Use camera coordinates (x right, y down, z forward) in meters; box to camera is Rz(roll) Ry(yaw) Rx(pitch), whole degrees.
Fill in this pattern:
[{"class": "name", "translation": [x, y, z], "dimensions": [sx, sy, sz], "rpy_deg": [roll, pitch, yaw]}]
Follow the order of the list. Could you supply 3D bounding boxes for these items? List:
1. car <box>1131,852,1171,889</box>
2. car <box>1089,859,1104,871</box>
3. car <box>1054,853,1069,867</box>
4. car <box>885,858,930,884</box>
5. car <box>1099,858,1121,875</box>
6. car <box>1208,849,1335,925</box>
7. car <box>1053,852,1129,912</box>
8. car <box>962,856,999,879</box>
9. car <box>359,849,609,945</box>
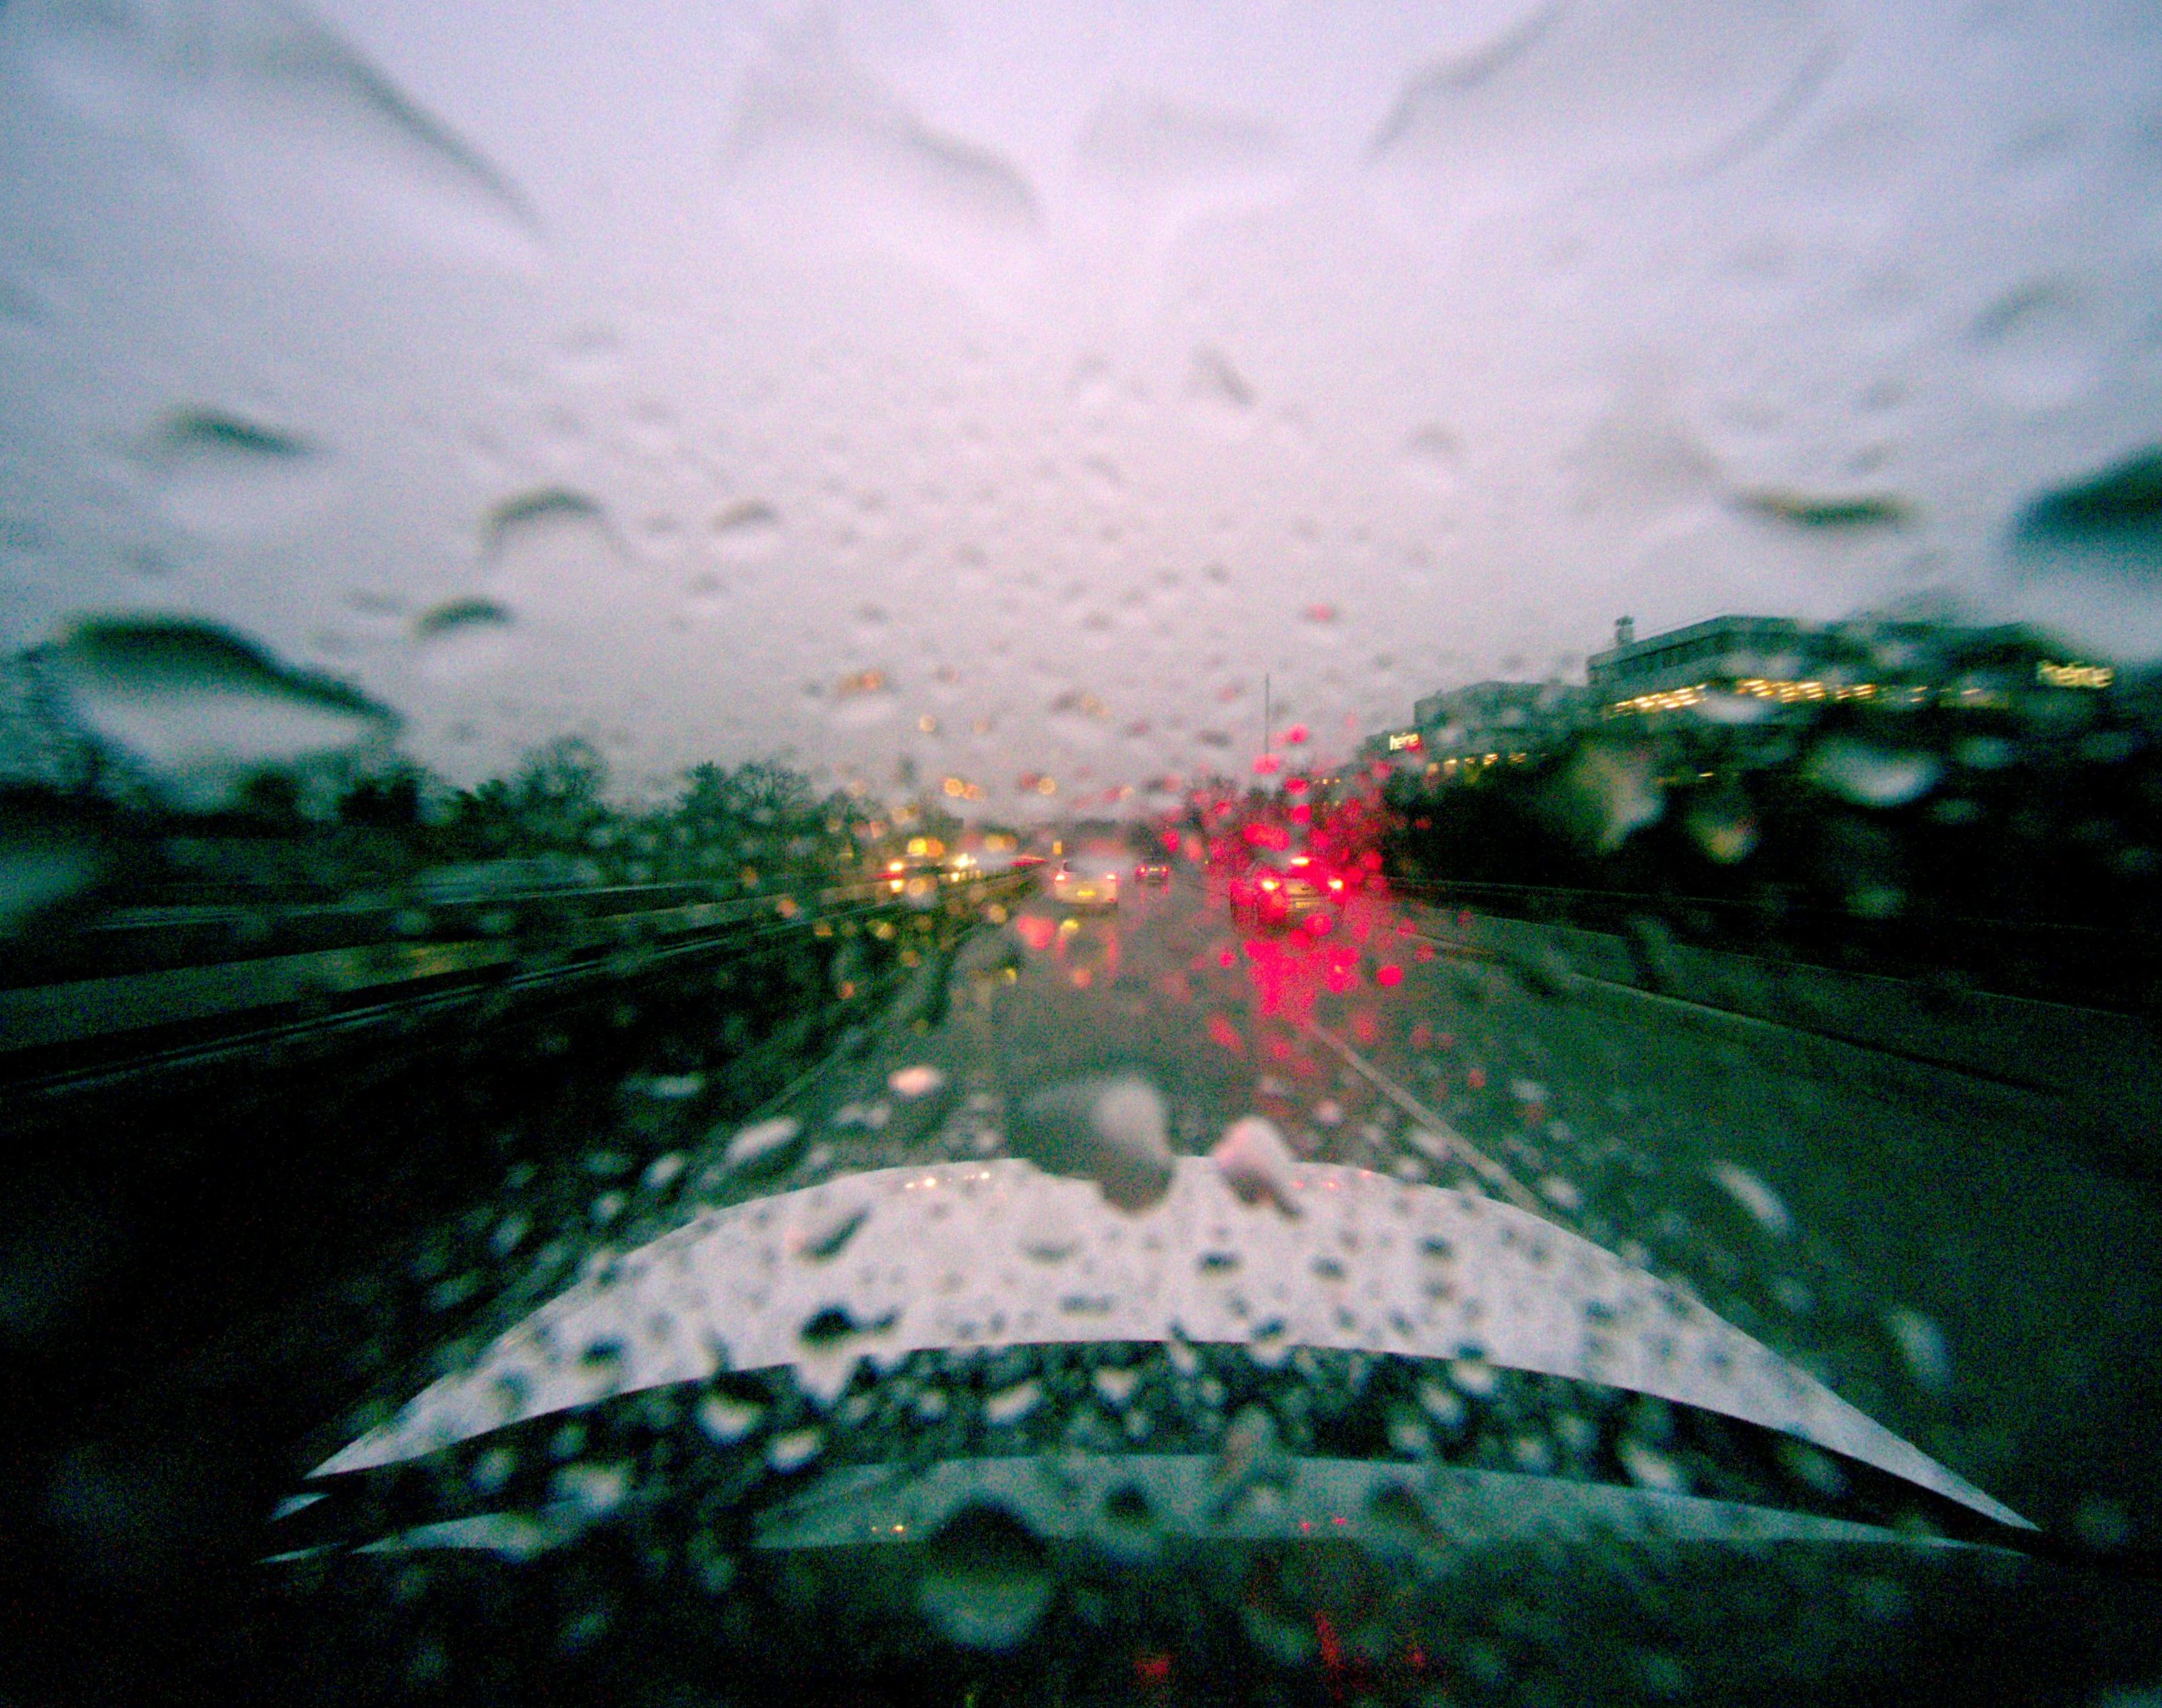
[{"class": "car", "translation": [3.924, 0.893, 46.282], "dimensions": [1.926, 2.019, 3.772], "rpy_deg": [0, 0, 0]}, {"class": "car", "translation": [2.102, 1.470, 109.737], "dimensions": [1.927, 1.546, 3.771], "rpy_deg": [0, 0, -1]}, {"class": "car", "translation": [-2.791, 0.851, 118.687], "dimensions": [1.986, 2.014, 4.001], "rpy_deg": [0, 0, 2]}, {"class": "car", "translation": [-11.318, 1.063, 53.453], "dimensions": [1.860, 1.627, 4.779], "rpy_deg": [0, 0, 0]}, {"class": "car", "translation": [3.016, 1.307, 86.402], "dimensions": [1.928, 1.546, 3.770], "rpy_deg": [-6, 0, -2]}, {"class": "car", "translation": [4.137, 0.676, 18.422], "dimensions": [1.844, 1.501, 4.261], "rpy_deg": [0, 0, -1]}, {"class": "car", "translation": [0.202, 0.755, 23.780], "dimensions": [2.020, 1.575, 3.996], "rpy_deg": [0, 0, -2]}, {"class": "car", "translation": [-6.671, 0.863, 54.571], "dimensions": [1.860, 1.449, 4.645], "rpy_deg": [0, 0, 0]}, {"class": "car", "translation": [-11.352, 0.740, 15.919], "dimensions": [1.720, 1.607, 4.180], "rpy_deg": [0, 0, 1]}]
